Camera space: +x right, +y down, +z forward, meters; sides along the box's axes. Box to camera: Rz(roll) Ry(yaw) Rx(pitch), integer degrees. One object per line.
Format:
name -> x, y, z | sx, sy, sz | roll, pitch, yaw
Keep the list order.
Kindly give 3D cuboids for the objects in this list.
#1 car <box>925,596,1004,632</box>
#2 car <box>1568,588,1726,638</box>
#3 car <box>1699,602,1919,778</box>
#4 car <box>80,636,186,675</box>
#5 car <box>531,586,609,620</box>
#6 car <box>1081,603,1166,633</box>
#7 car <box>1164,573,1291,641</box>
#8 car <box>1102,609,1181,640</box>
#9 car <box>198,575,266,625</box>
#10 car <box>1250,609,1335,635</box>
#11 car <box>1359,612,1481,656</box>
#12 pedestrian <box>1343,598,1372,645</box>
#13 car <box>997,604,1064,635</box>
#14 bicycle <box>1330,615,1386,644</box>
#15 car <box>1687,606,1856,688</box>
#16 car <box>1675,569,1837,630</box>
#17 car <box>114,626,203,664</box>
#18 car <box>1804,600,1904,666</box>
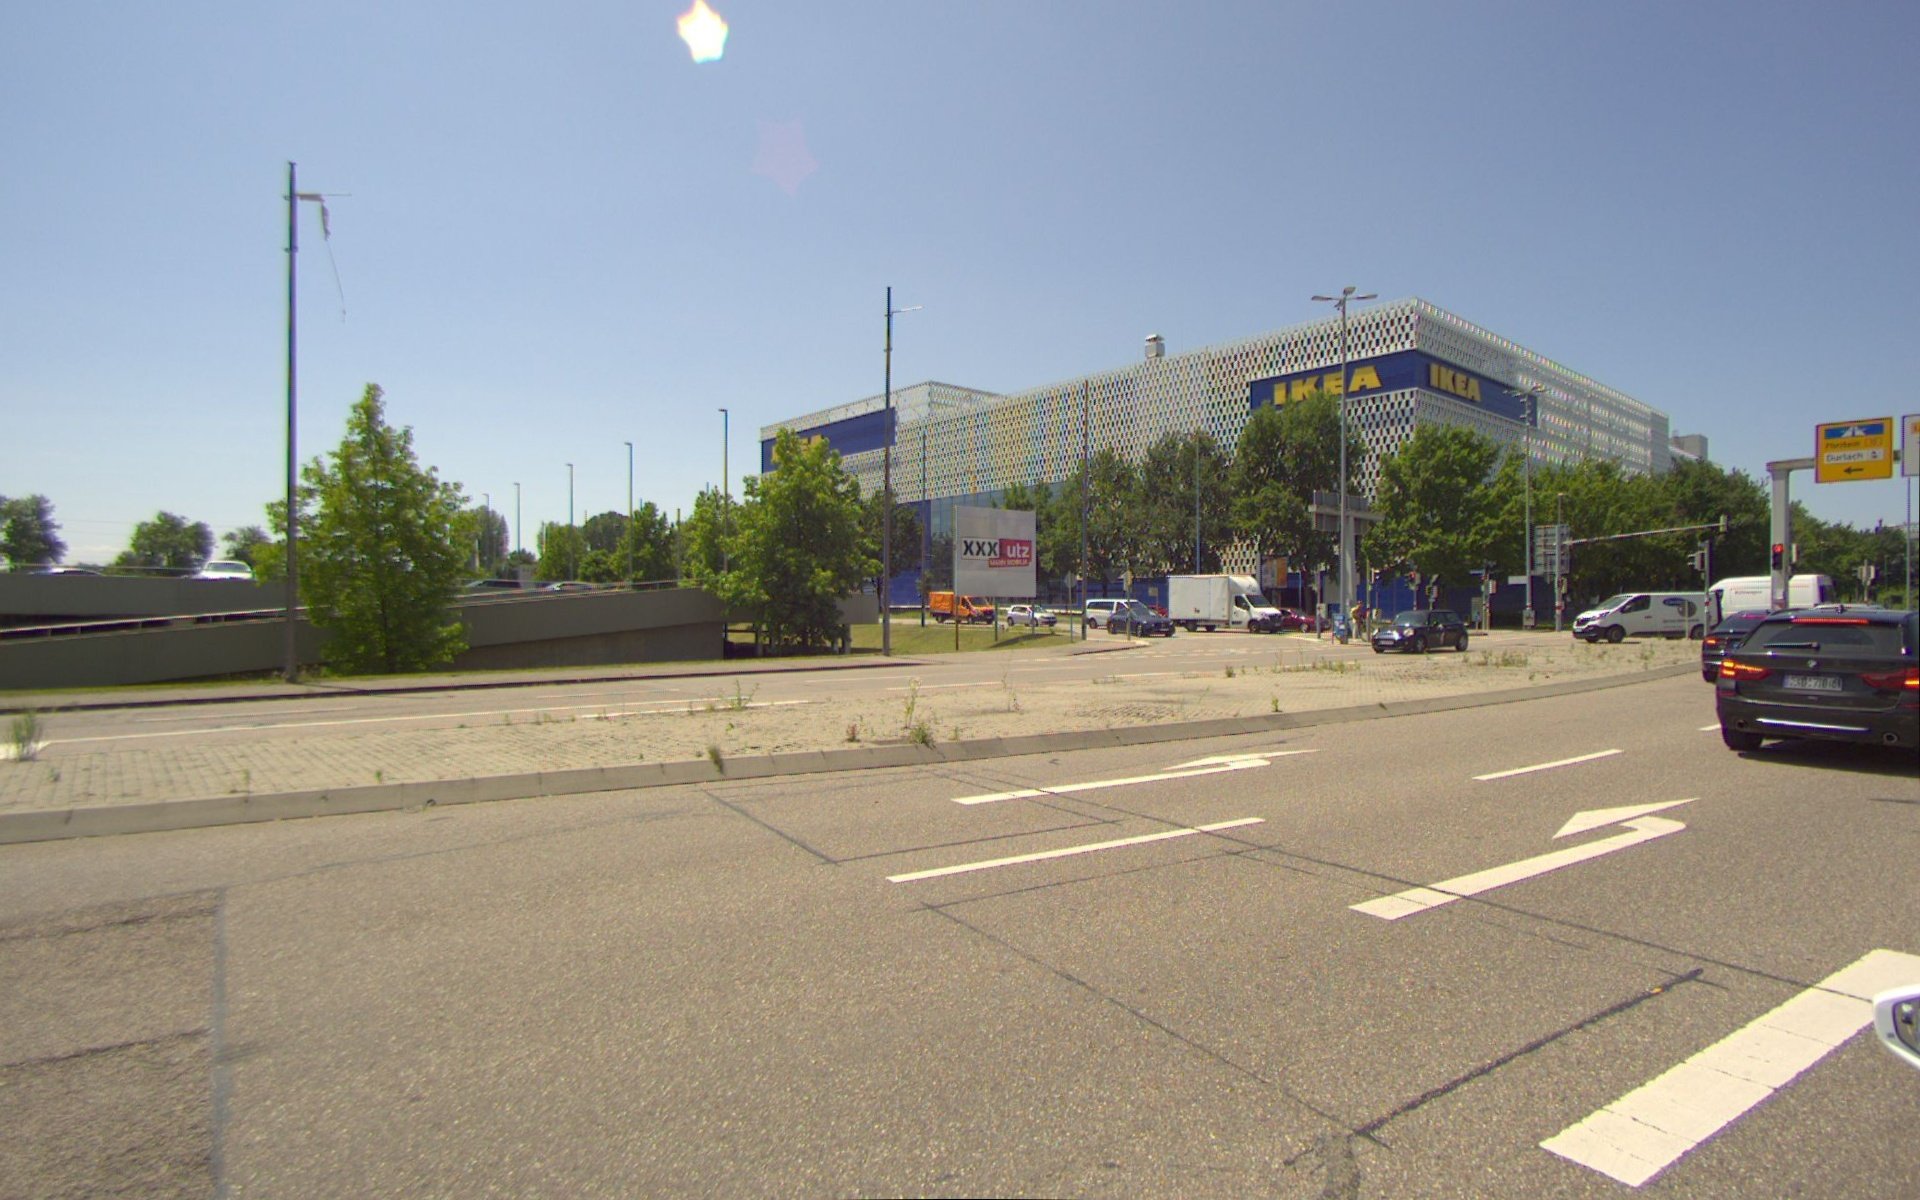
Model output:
car -> 0.289, 1.078, 76.293 | 2.552, 2.568, 6.559 | 0, -1, -38
car -> 26.725, 0.499, 39.231 | 4.742, 1.875, 1.838 | 0, 0, 10
car -> 9.764, 0.786, 10.669 | 4.577, 1.485, 1.788 | -1, 0, -36
car -> -40.890, 2.705, 49.808 | 3.963, 1.751, 1.979 | 0, -1, -37
car -> -23.744, 0.183, 61.163 | 3.973, 1.934, 1.974 | 0, -1, -44
car -> 10.207, 1.131, 62.974 | 1.981, 1.835, 5.415 | 0, -1, -37
car -> 14.932, 0.410, 56.473 | 2.165, 3.533, 6.845 | -3, 1, -40
car -> 9.437, 1.280, 52.523 | 1.911, 1.528, 3.966 | 0, -1, -31
car -> -28.143, 0.033, 38.770 | 1.982, 1.791, 4.155 | 0, -1, -38
car -> 18.597, 1.222, 56.277 | 1.761, 1.360, 4.248 | -2, 0, -39
car -> 15.579, 1.134, 33.997 | 3.846, 1.320, 1.848 | -1, -1, -29
pedestrian -> 17.444, 0.927, 44.030 | 0.895, 2.040, 0.860 | -1, 0, 43
car -> 4.872, 1.366, 69.989 | 1.983, 2.040, 4.661 | 0, -1, -39
bicycle -> 17.436, 1.289, 43.994 | 2.070, 1.229, 0.991 | -1, -1, 43
car -> 15.898, 0.839, 19.594 | 4.495, 1.409, 1.734 | 0, -1, -40
car -> 36.017, -0.031, 45.649 | 1.976, 2.601, 5.464 | 0, 0, -30
car -> -46.648, 2.589, 58.562 | 3.962, 2.040, 1.980 | 0, -1, -37
car -> 22.548, 0.777, 25.346 | 1.778, 1.514, 3.977 | 0, 0, 42
